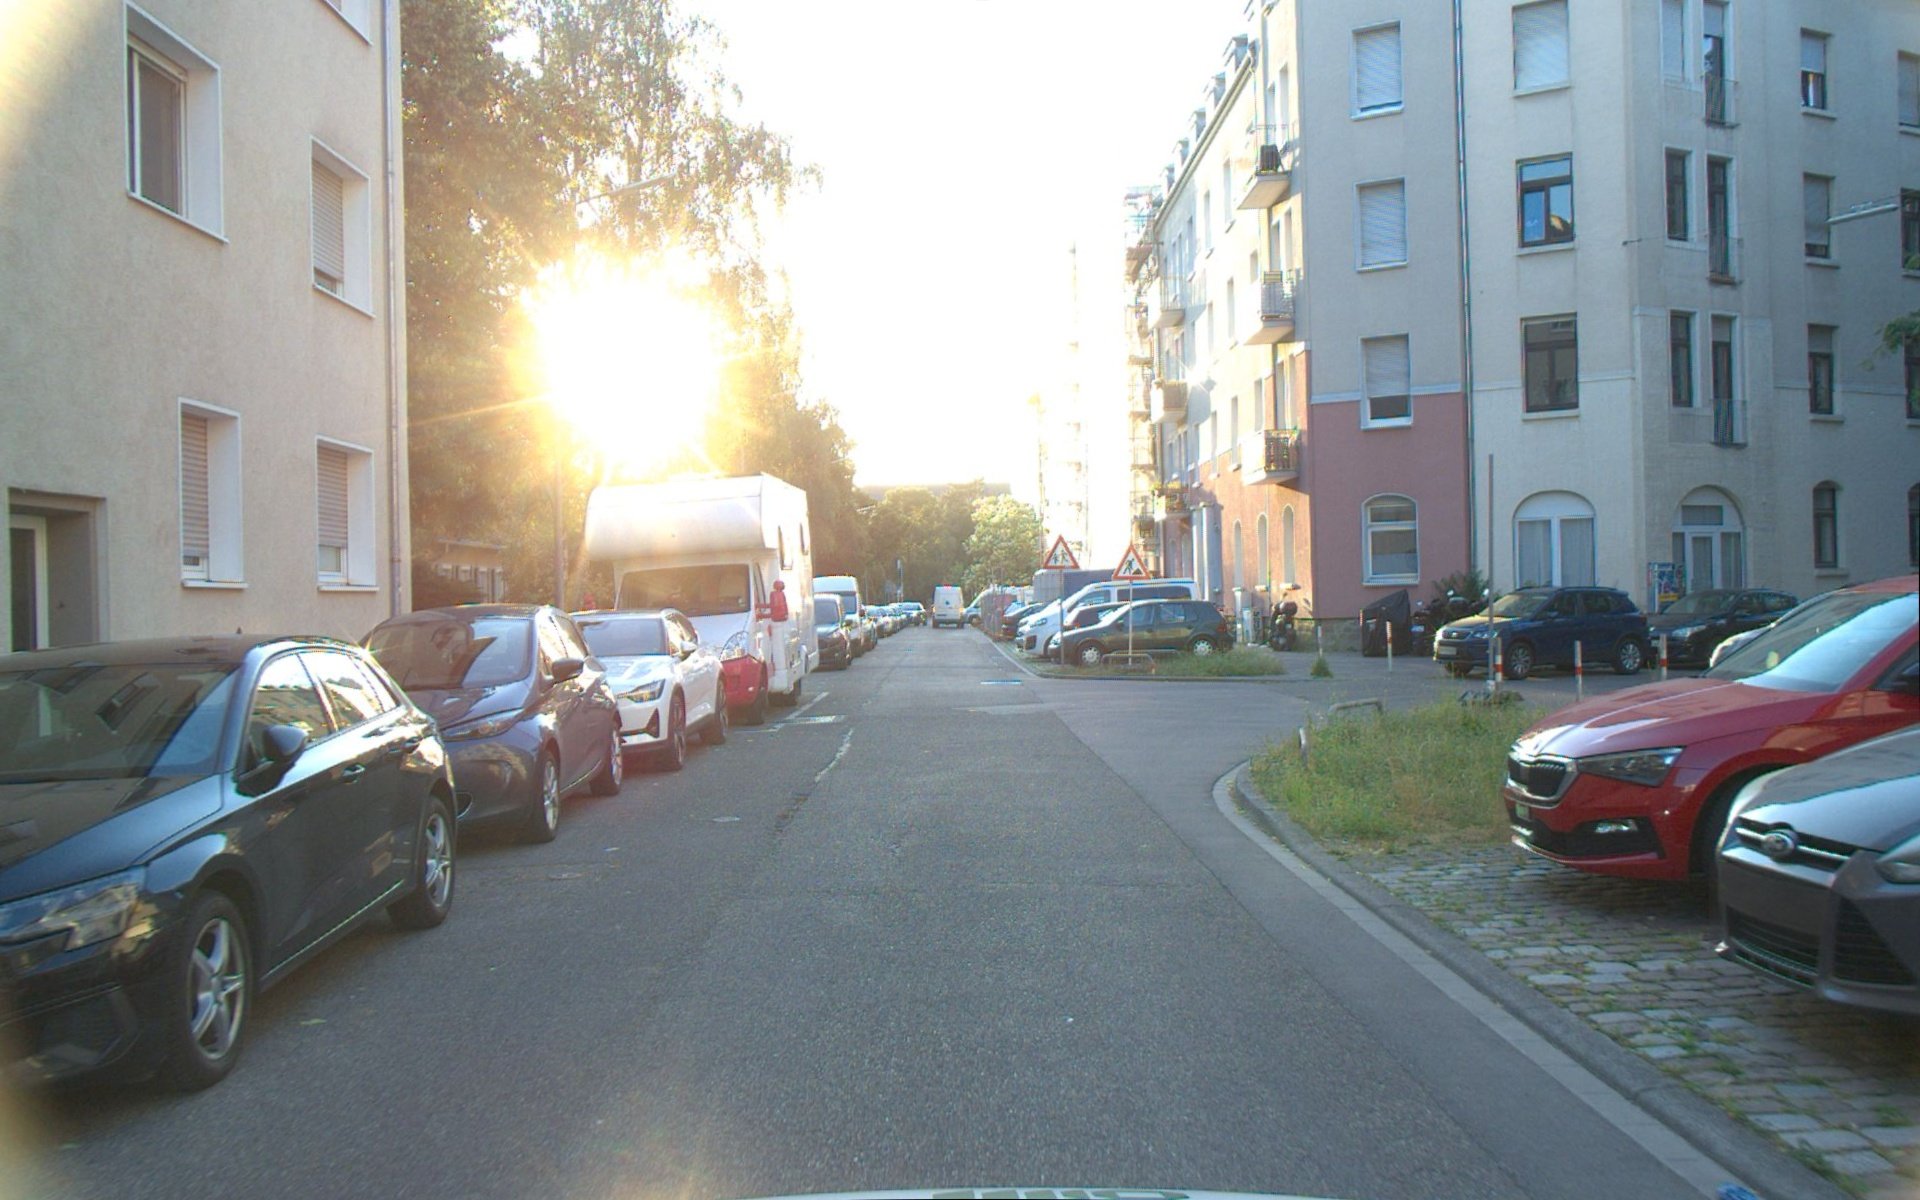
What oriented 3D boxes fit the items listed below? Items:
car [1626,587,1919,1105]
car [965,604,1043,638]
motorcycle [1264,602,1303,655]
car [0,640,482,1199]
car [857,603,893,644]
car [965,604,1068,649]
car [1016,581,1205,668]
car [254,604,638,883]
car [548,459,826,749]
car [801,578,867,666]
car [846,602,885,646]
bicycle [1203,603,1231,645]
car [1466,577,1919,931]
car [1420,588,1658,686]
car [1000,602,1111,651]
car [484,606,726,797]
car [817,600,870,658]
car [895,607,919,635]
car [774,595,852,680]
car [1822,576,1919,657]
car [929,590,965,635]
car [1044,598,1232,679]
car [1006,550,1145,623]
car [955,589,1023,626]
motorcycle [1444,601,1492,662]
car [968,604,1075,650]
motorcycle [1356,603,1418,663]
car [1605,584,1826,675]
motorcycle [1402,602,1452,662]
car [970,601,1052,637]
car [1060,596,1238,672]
[{"bbox_3d":[4.488,0.622,5.614,3.735,1.453,1.634,-3,-1,-2],"label":"car"},{"bbox_3d":[2.278,1.062,85.967,3.907,1.557,1.658,-3,0,-2],"label":"car"},{"bbox_3d":[7.805,0.672,39.941,0.507,1.249,1.981,-1,0,-1],"label":"motorcycle"},{"bbox_3d":[-3.203,0.959,6.441,1.620,1.459,3.874,-3,0,-2],"label":"car"},{"bbox_3d":[-4.110,1.116,80.736,1.620,1.862,3.874,-3,0,-2],"label":"car"},{"bbox_3d":[2.195,1.046,65.239,3.907,1.557,1.658,-3,0,-2],"label":"car"},{"bbox_3d":[3.920,0.642,43.517,4.716,2.002,1.738,-3,0,-2],"label":"car"},{"bbox_3d":[-3.488,0.883,11.955,1.620,1.592,3.874,-3,0,-2],"label":"car"},{"bbox_3d":[-3.579,0.072,23.629,2.567,3.326,7.695,-3,0,0],"label":"car"},{"bbox_3d":[-3.848,0.671,51.181,1.734,2.488,5.142,-3,0,-2],"label":"car"},{"bbox_3d":[-4.323,1.103,76.105,1.620,1.862,3.874,-3,0,-2],"label":"car"},{"bbox_3d":[7.842,0.721,50.468,0.507,1.249,1.981,-1,0,-1],"label":"bicycle"},{"bbox_3d":[4.629,0.624,8.099,3.735,1.453,1.634,-3,-1,-2],"label":"car"},{"bbox_3d":[10.279,0.624,29.393,3.831,1.602,1.700,-1,0,-22],"label":"car"},{"bbox_3d":[3.491,0.968,60.800,3.907,1.557,1.658,-3,0,-2],"label":"car"},{"bbox_3d":[-3.372,0.899,16.369,1.620,1.568,3.874,-3,0,-2],"label":"car"},{"bbox_3d":[-4.015,0.992,57.304,1.620,1.862,3.874,-3,0,-2],"label":"car"},{"bbox_3d":[-3.756,1.451,117.236,1.620,1.862,3.874,-3,0,-2],"label":"car"},{"bbox_3d":[-3.529,0.887,40.290,1.620,1.862,3.874,-3,0,-2],"label":"car"},{"bbox_3d":[20.106,0.310,34.484,3.831,1.602,1.700,-1,0,-22],"label":"car"},{"bbox_3d":[-0.892,0.828,107.892,2.086,2.764,4.831,-3,0,-2],"label":"car"},{"bbox_3d":[3.896,0.836,36.591,3.907,1.557,1.658,-3,0,-2],"label":"car"},{"bbox_3d":[3.439,-0.380,49.758,3.909,2.049,1.998,-2,-1,-5],"label":"car"},{"bbox_3d":[2.063,0.530,119.453,4.716,2.450,1.738,-3,0,-2],"label":"car"},{"bbox_3d":[10.900,0.662,35.464,0.508,1.249,1.977,-1,0,31],"label":"motorcycle"},{"bbox_3d":[2.327,1.031,63.266,3.907,1.557,1.658,-3,0,-2],"label":"car"},{"bbox_3d":[9.323,0.713,36.063,0.509,1.249,1.971,-1,0,39],"label":"motorcycle"},{"bbox_3d":[14.475,0.541,31.697,3.831,1.602,1.700,-1,0,-22],"label":"car"},{"bbox_3d":[10.068,0.674,35.635,0.508,1.249,1.977,-1,0,31],"label":"motorcycle"},{"bbox_3d":[2.521,0.933,81.816,3.907,1.557,1.658,-3,-1,-2],"label":"car"},{"bbox_3d":[4.412,0.791,38.918,3.907,1.557,1.658,-3,0,-2],"label":"car"}]
